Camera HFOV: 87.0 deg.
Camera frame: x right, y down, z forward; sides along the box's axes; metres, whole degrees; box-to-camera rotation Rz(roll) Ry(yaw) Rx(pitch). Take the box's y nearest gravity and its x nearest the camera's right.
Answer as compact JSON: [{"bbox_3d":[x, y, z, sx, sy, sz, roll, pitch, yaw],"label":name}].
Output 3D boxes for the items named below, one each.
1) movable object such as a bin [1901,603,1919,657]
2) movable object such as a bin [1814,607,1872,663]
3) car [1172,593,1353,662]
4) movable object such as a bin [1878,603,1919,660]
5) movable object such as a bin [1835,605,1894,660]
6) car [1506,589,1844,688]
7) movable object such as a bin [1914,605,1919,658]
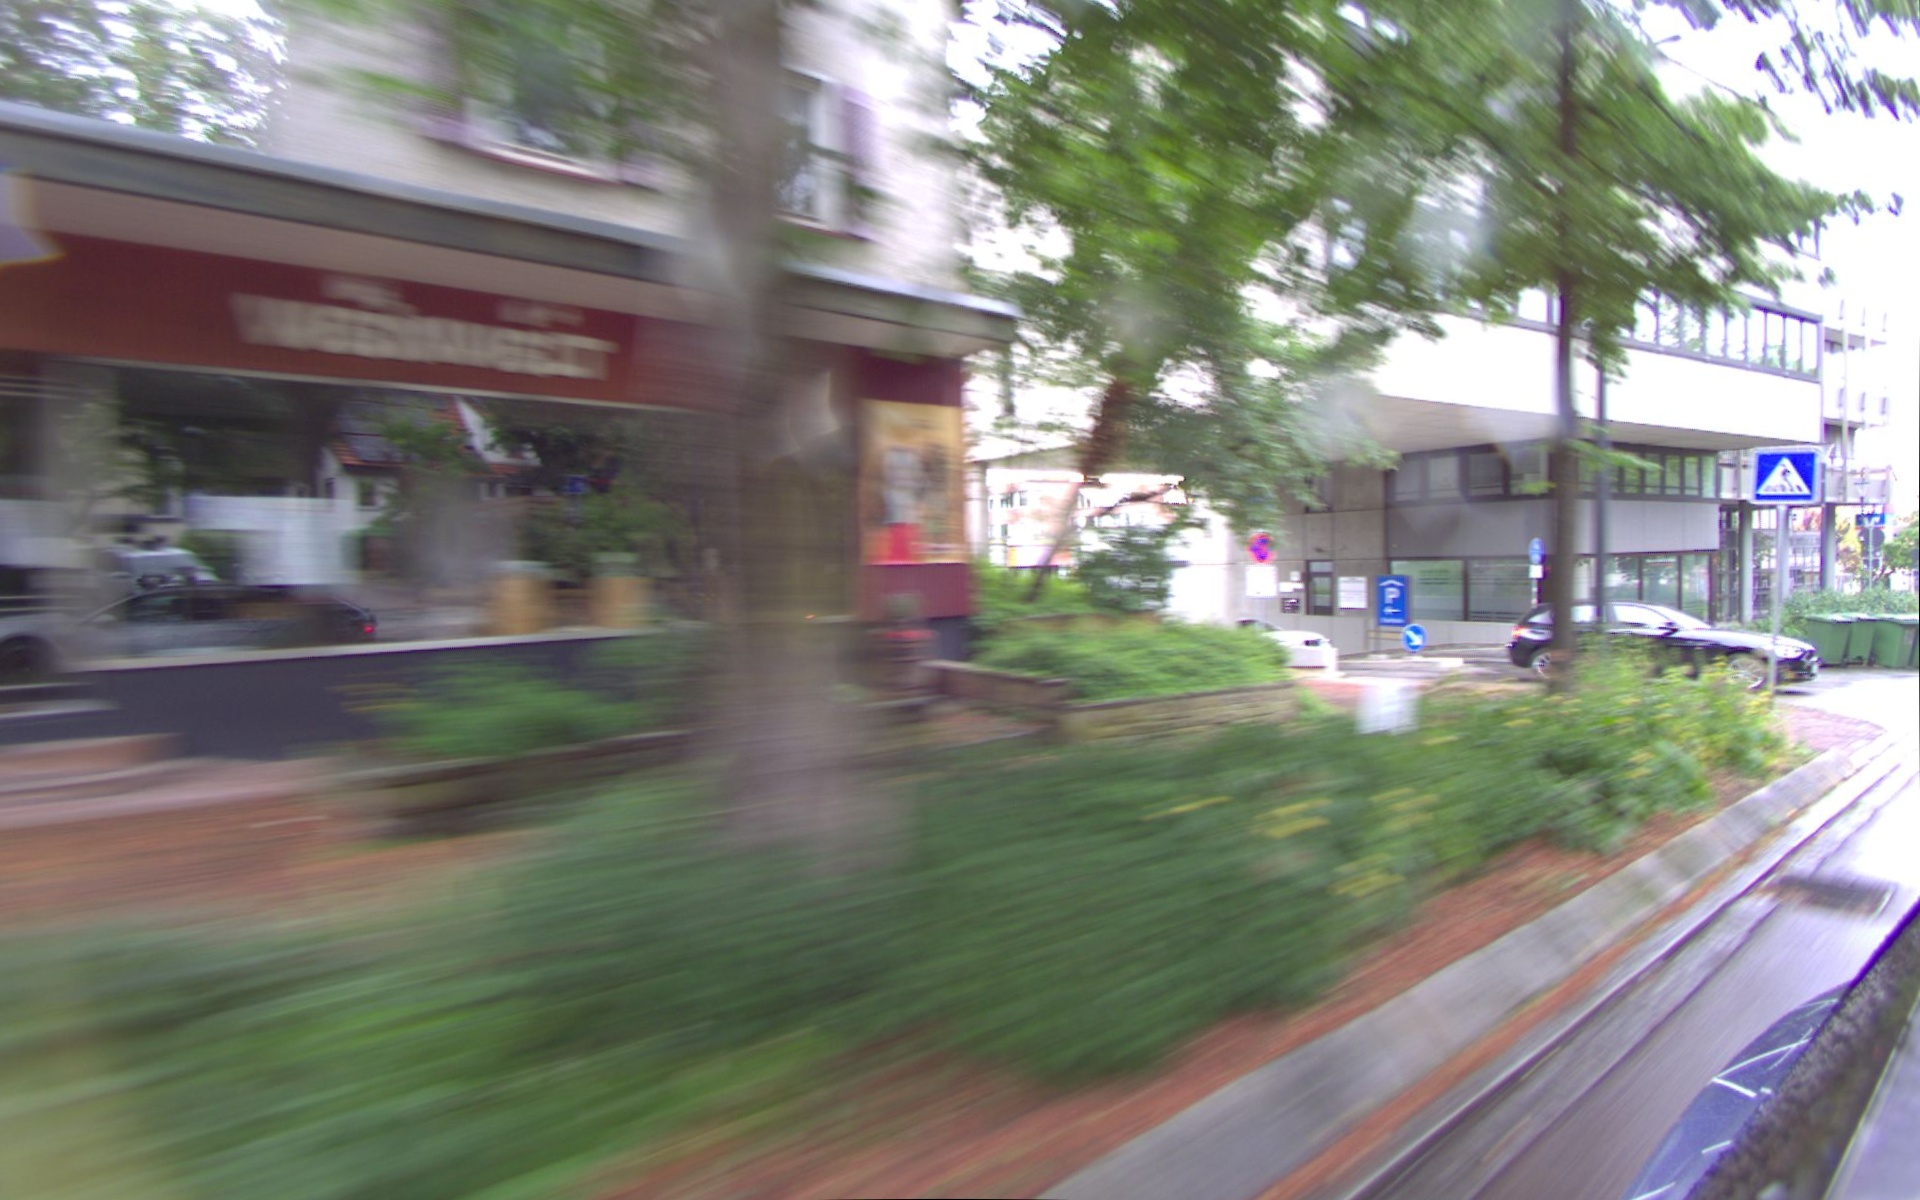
[{"bbox_3d":[20.413,0.635,21.280,0.559,1.121,0.707,0,2,-14],"label":"movable object such as a bin"},{"bbox_3d":[18.311,0.718,20.990,0.561,1.116,0.706,0,2,2],"label":"movable object such as a bin"},{"bbox_3d":[7.085,0.599,24.083,1.709,1.460,4.003,-2,1,-30],"label":"car"},{"bbox_3d":[19.806,0.651,21.143,0.559,1.124,0.707,0,2,-16],"label":"movable object such as a bin"},{"bbox_3d":[18.965,0.670,21.229,0.561,1.116,0.706,0,2,2],"label":"movable object such as a bin"},{"bbox_3d":[11.703,0.565,16.808,1.808,1.435,4.289,0,-1,-41],"label":"car"},{"bbox_3d":[21.075,0.687,21.711,0.559,1.138,0.707,-1,2,-25],"label":"movable object such as a bin"}]
